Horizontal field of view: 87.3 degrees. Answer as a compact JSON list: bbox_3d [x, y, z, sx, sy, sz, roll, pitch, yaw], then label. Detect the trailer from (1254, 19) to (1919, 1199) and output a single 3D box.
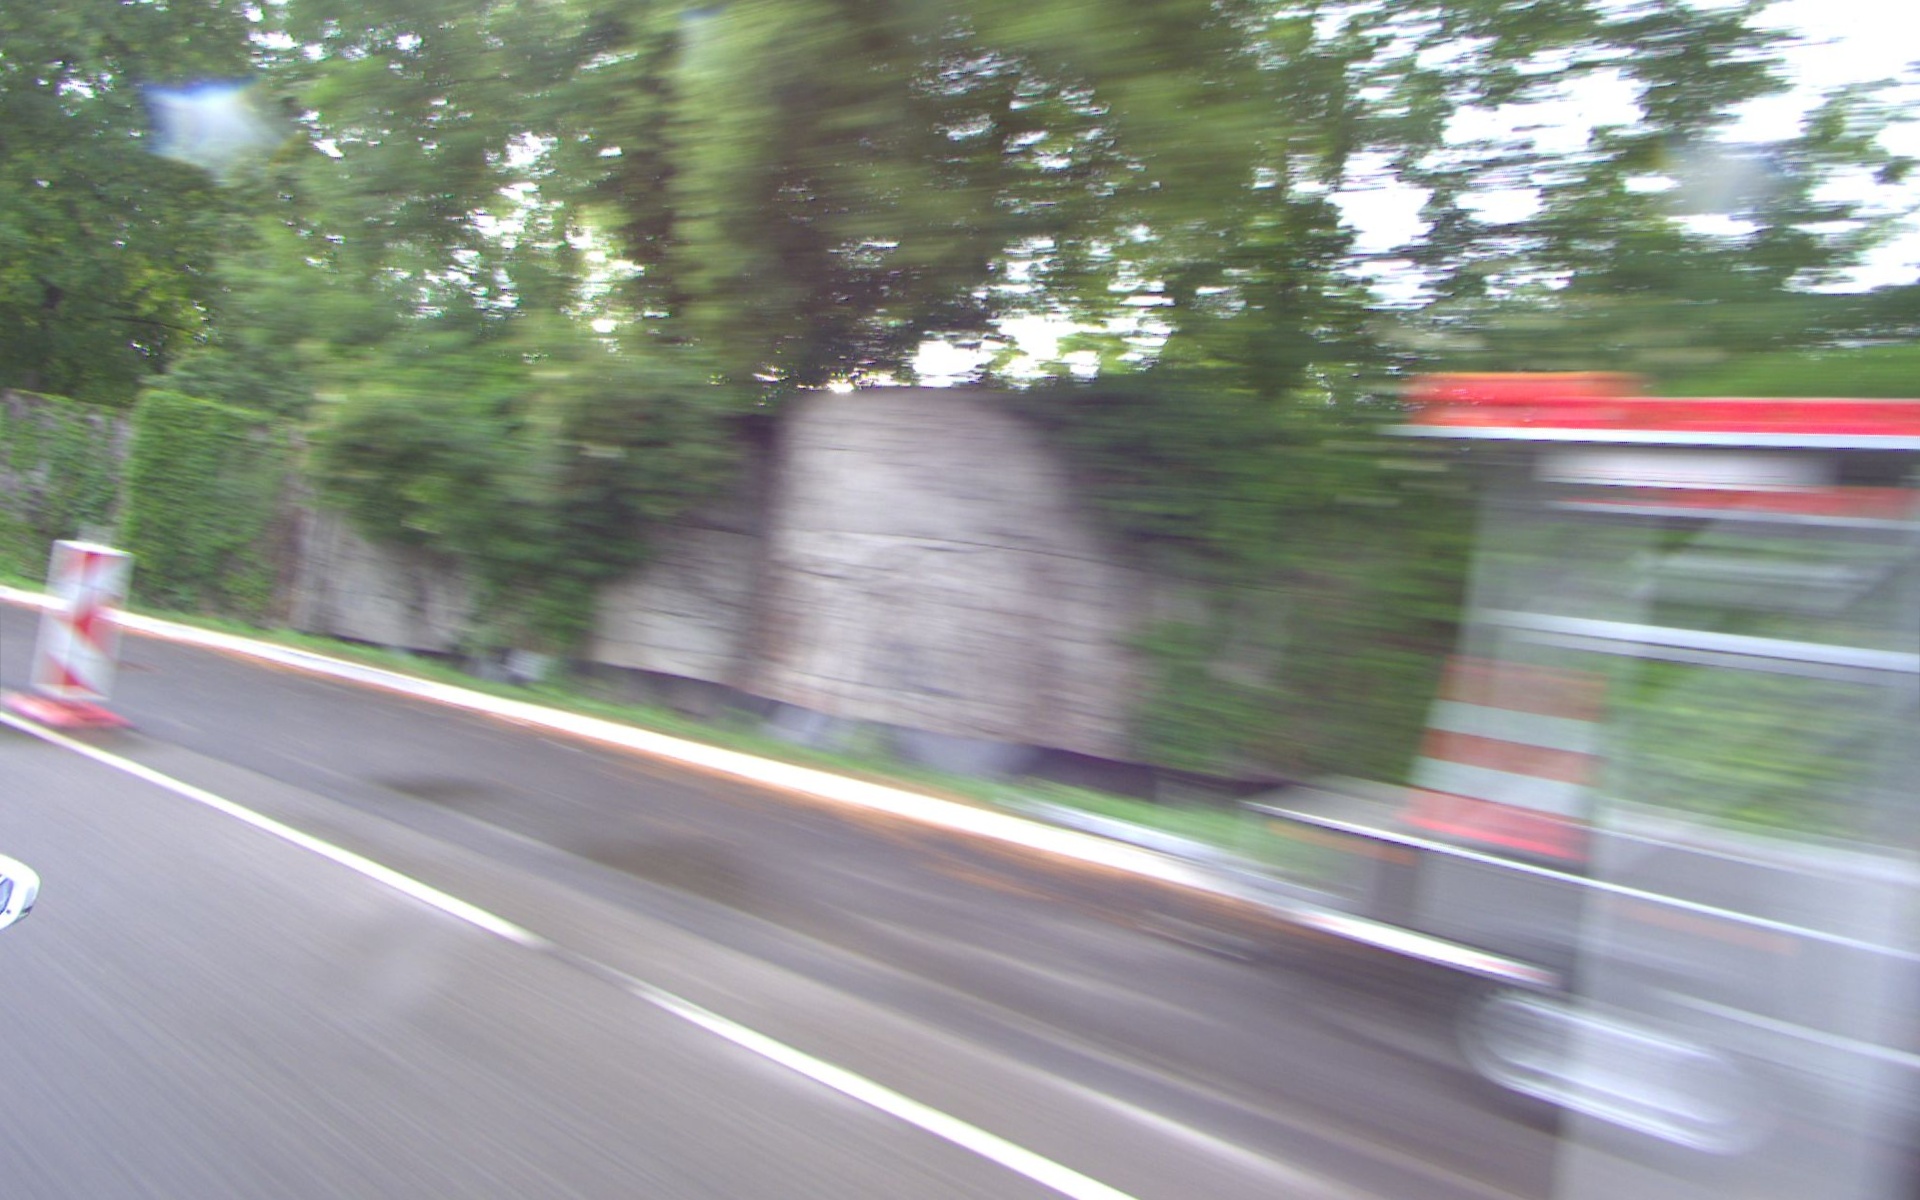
[{"bbox_3d":[4.399,0.267,3.236,5.866,3.633,2.308,7,0,35],"label":"trailer"}]
